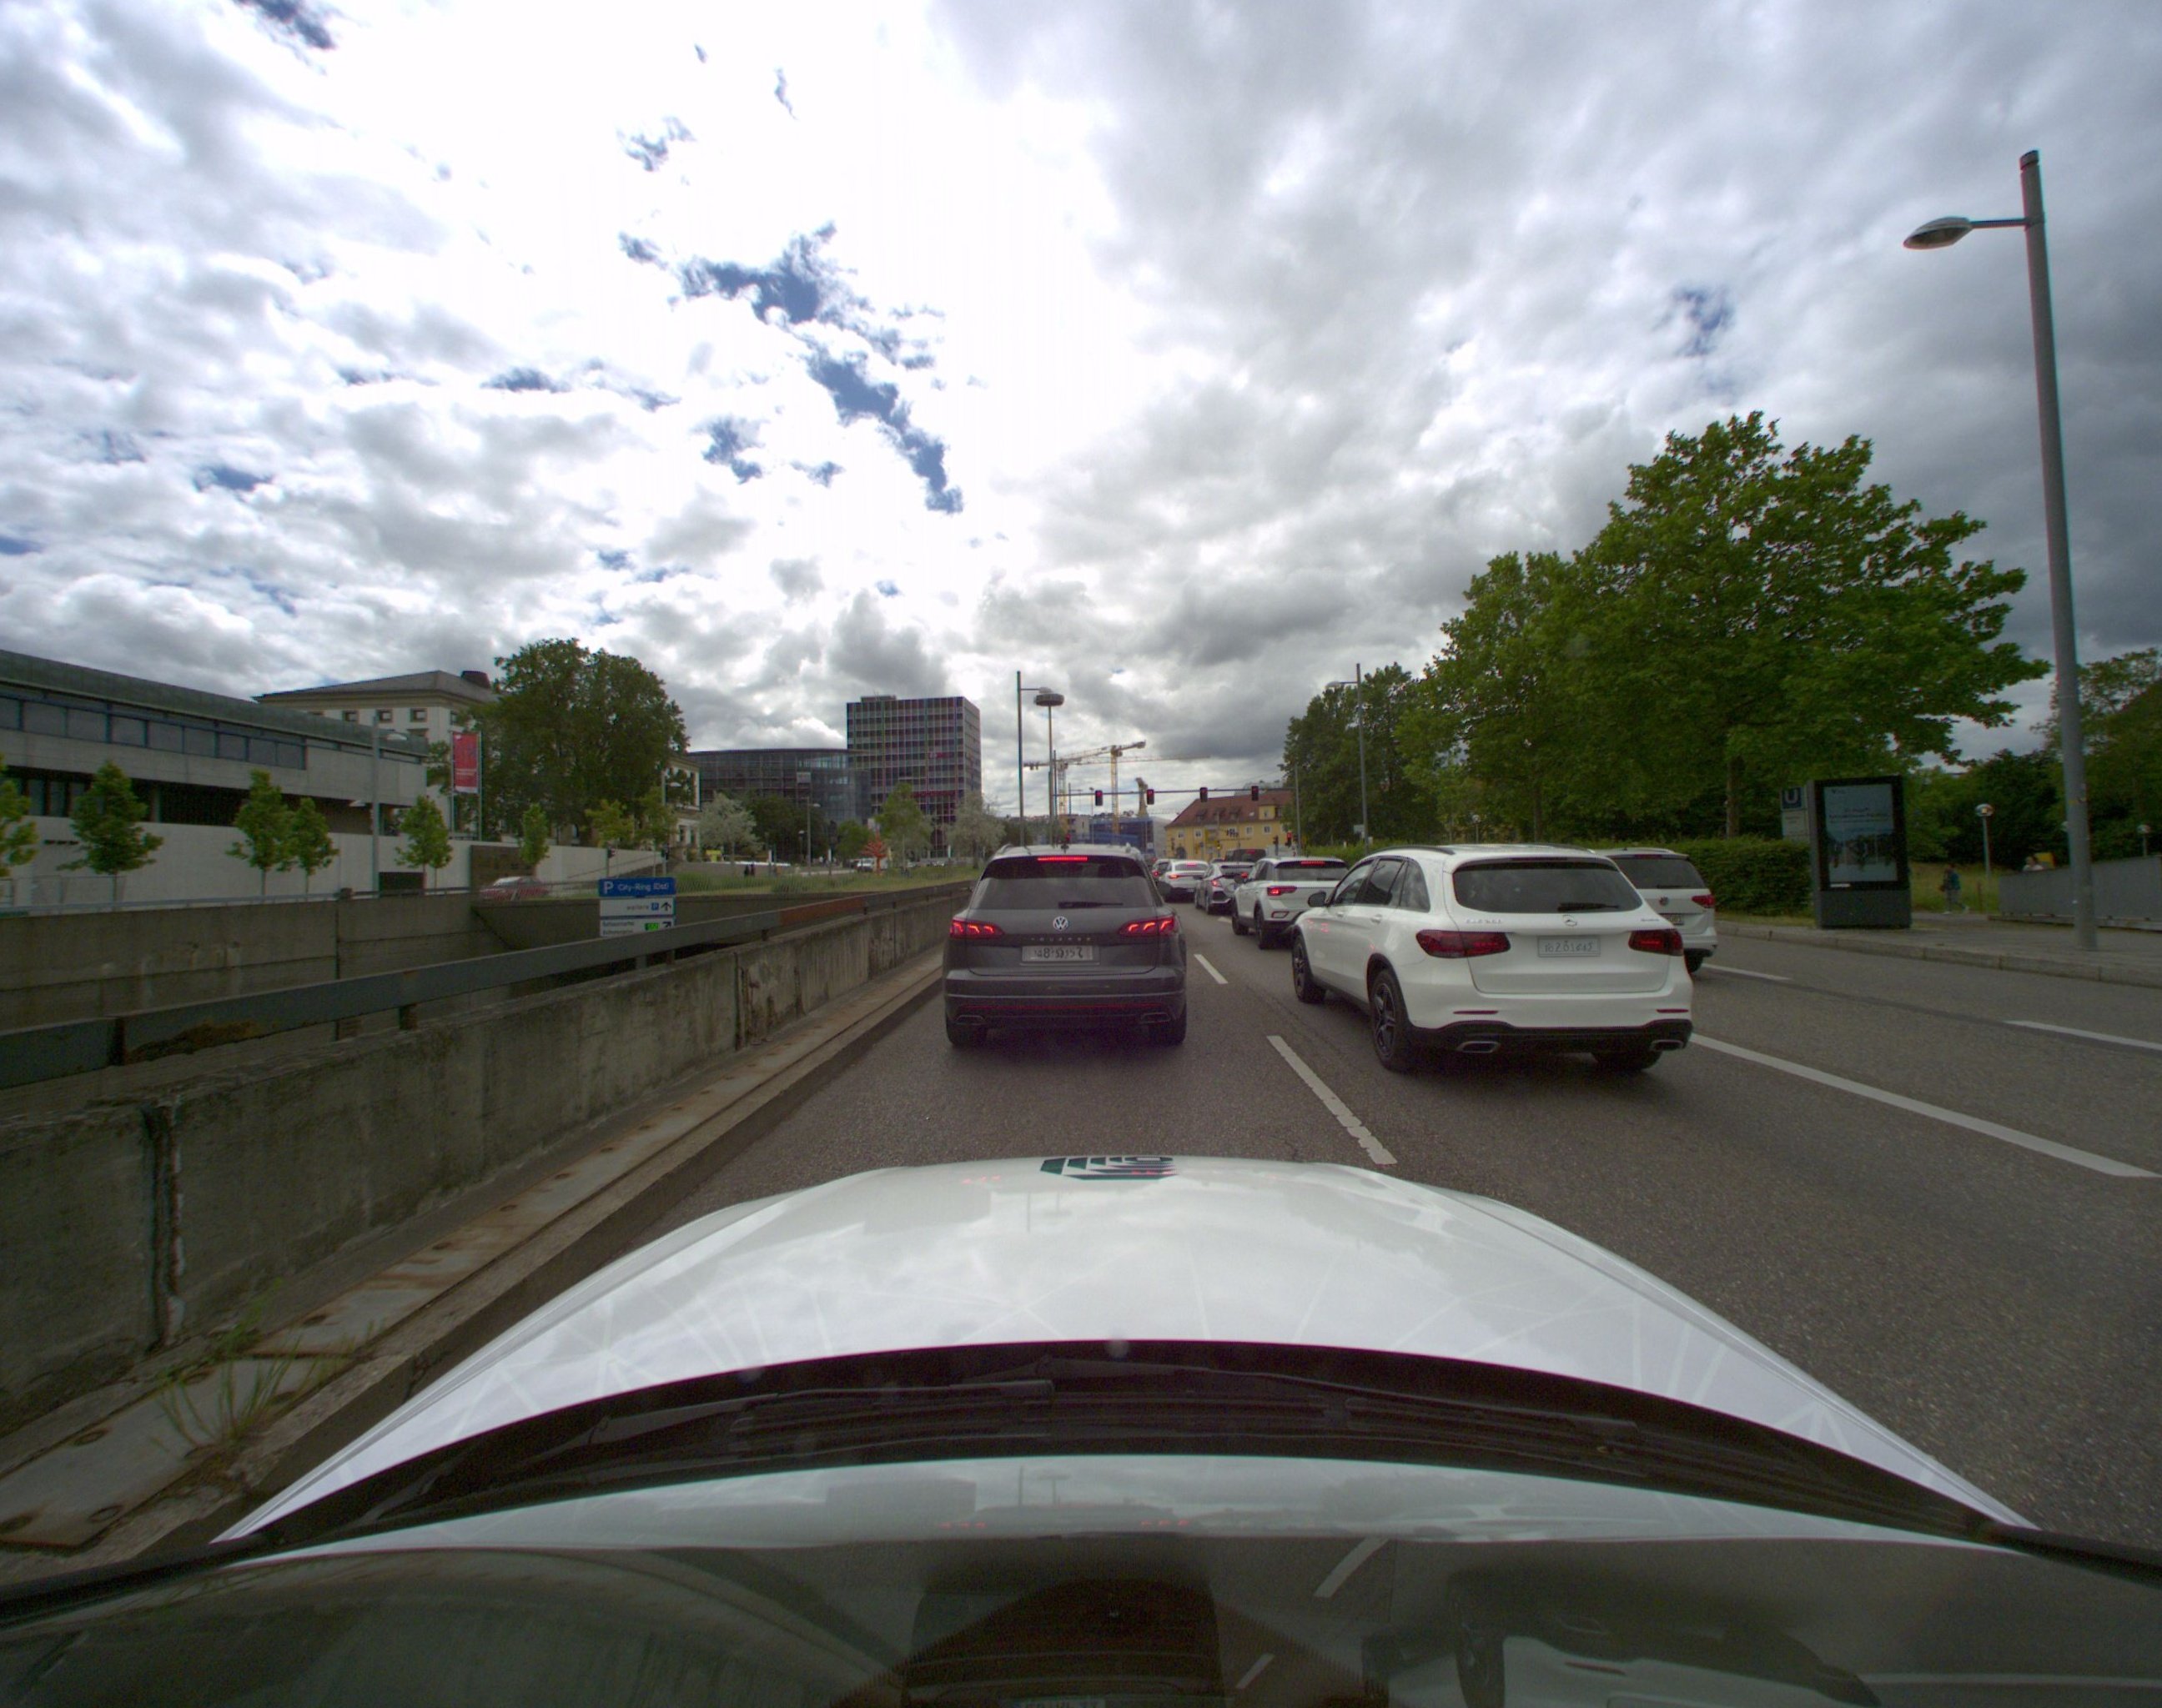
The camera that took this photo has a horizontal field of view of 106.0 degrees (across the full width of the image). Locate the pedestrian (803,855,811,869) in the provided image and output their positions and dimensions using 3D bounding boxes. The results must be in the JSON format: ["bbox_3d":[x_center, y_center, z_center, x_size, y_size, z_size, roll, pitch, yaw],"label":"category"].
[{"bbox_3d":[-40.220,1.153,119.470,0.737,2.013,1.113,-2,0,-3],"label":"pedestrian"}]

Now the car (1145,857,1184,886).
[{"bbox_3d":[4.566,0.973,45.074,1.918,1.529,4.050,-1,-1,3],"label":"car"}]

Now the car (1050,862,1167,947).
[{"bbox_3d":[0.513,0.866,15.574,1.944,1.384,3.932,1,-1,1],"label":"car"}]

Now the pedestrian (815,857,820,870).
[{"bbox_3d":[-42.288,1.470,130.870,0.740,2.013,0.788,-2,0,-19],"label":"pedestrian"}]

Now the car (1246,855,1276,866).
[{"bbox_3d":[27.324,0.995,123.932,4.060,1.610,1.841,-1,-2,37],"label":"car"}]

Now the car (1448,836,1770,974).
[{"bbox_3d":[7.351,0.634,11.993,1.987,1.640,4.304,-1,-1,1],"label":"car"}]

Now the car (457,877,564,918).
[{"bbox_3d":[-29.860,2.242,42.847,2.166,1.855,4.737,-1,0,1],"label":"car"}]

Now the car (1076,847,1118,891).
[{"bbox_3d":[0.802,0.725,39.756,1.944,2.018,3.932,1,-1,1],"label":"car"}]

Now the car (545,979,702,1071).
[{"bbox_3d":[-15.264,5.660,27.608,2.209,2.014,5.120,-1,0,3],"label":"car"}]

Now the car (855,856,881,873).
[{"bbox_3d":[-27.483,1.349,105.295,1.986,2.013,4.695,-1,1,2],"label":"car"}]

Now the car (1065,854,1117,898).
[{"bbox_3d":[0.426,0.828,32.235,1.944,1.600,3.932,1,-1,1],"label":"car"}]

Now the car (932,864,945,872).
[{"bbox_3d":[-25.100,2.469,143.617,1.727,1.495,3.593,1,-2,0],"label":"car"}]

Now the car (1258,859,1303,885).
[{"bbox_3d":[11.399,1.017,46.679,1.751,1.447,3.633,1,-1,0],"label":"car"}]

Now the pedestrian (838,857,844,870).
[{"bbox_3d":[-38.163,1.477,129.383,0.740,2.013,1.108,-2,1,-18],"label":"pedestrian"}]

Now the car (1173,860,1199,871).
[{"bbox_3d":[19.471,2.153,151.141,4.402,2.014,1.713,-1,-2,35],"label":"car"}]

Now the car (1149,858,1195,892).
[{"bbox_3d":[4.266,0.969,38.789,1.918,1.529,4.050,-1,-1,3],"label":"car"}]

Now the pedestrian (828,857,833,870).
[{"bbox_3d":[-39.521,1.425,128.412,0.740,2.013,0.788,-2,0,-19],"label":"pedestrian"}]

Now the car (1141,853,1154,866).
[{"bbox_3d":[9.174,0.745,112.503,1.612,1.627,4.002,0,-2,3],"label":"car"}]

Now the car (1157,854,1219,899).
[{"bbox_3d":[3.858,0.807,29.974,1.918,1.529,4.493,-1,-1,3],"label":"car"}]

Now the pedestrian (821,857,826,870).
[{"bbox_3d":[-41.525,1.486,131.155,0.740,2.013,0.788,-2,0,-19],"label":"pedestrian"}]

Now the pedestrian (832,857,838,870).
[{"bbox_3d":[-38.625,1.417,127.859,0.740,2.013,0.788,-2,0,-19],"label":"pedestrian"}]

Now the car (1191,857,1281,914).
[{"bbox_3d":[4.290,0.853,23.234,1.918,1.432,4.493,-1,-1,3],"label":"car"}]

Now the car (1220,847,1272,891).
[{"bbox_3d":[8.069,0.742,40.166,1.903,2.014,4.014,1,-1,3],"label":"car"}]

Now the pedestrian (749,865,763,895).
[{"bbox_3d":[-22.475,1.784,56.330,0.794,2.013,0.830,-2,0,-26],"label":"pedestrian"}]

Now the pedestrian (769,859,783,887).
[{"bbox_3d":[-22.771,1.410,60.782,0.729,2.012,0.628,-2,4,-6],"label":"pedestrian"}]

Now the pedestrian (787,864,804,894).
[{"bbox_3d":[-19.669,1.719,56.159,0.857,2.013,0.629,-2,0,1],"label":"pedestrian"}]

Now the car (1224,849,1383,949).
[{"bbox_3d":[3.883,0.746,15.023,1.918,1.551,4.493,-1,-1,3],"label":"car"}]

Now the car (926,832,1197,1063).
[{"bbox_3d":[-0.090,0.687,7.865,1.944,1.651,4.001,0,-1,1],"label":"car"}]

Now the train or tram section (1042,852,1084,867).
[{"bbox_3d":[-3.850,1.184,174.978,8.836,3.010,2.612,0,-2,31],"label":"train or tram section"}]

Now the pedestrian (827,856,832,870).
[{"bbox_3d":[-39.303,1.392,127.217,0.740,2.013,1.108,-2,1,-18],"label":"pedestrian"}]

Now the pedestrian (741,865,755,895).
[{"bbox_3d":[-22.715,1.760,55.588,0.794,2.013,0.830,-2,0,-26],"label":"pedestrian"}]

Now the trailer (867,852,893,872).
[{"bbox_3d":[-27.226,1.028,110.469,2.030,2.604,5.510,1,0,2],"label":"trailer"}]

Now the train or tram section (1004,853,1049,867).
[{"bbox_3d":[-12.109,1.254,179.841,10.295,3.010,2.612,0,-2,31],"label":"train or tram section"}]

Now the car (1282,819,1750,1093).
[{"bbox_3d":[3.194,0.605,7.201,1.918,1.653,4.493,-1,0,3],"label":"car"}]
